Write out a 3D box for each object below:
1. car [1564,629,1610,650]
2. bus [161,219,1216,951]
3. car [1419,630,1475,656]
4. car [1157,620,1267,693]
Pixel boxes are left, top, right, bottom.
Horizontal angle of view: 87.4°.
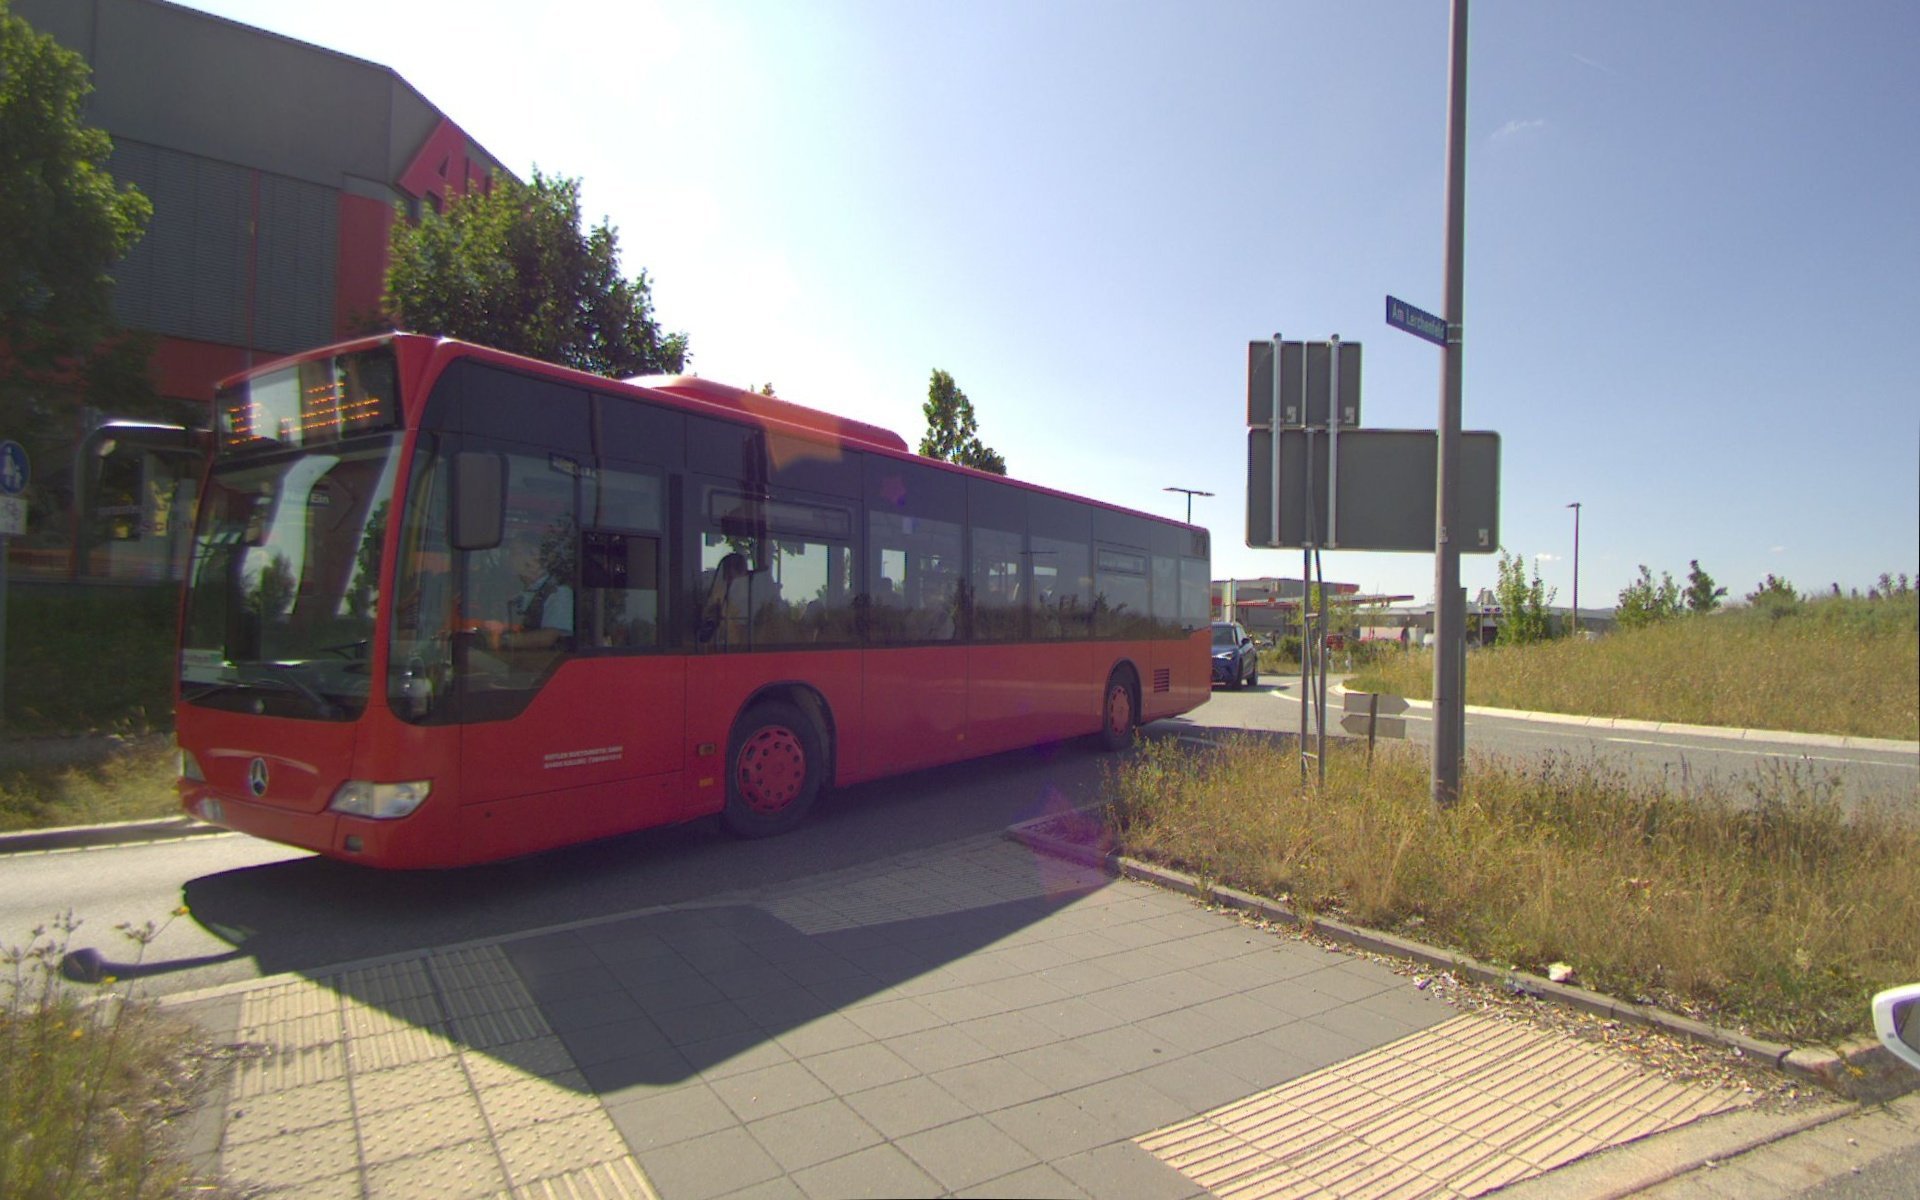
[{"bbox_3d":[54.597,3.437,87.509,3.959,1.754,1.981,3,-2,-34],"label":"car"},{"bbox_3d":[-0.470,0.100,10.244,2.572,3.284,11.854,-1,-2,31],"label":"bus"},{"bbox_3d":[40.202,3.561,82.878,5.087,2.040,1.980,3,-2,-36],"label":"car"},{"bbox_3d":[6.384,1.377,25.105,1.823,1.657,4.076,-1,-2,27],"label":"car"}]
